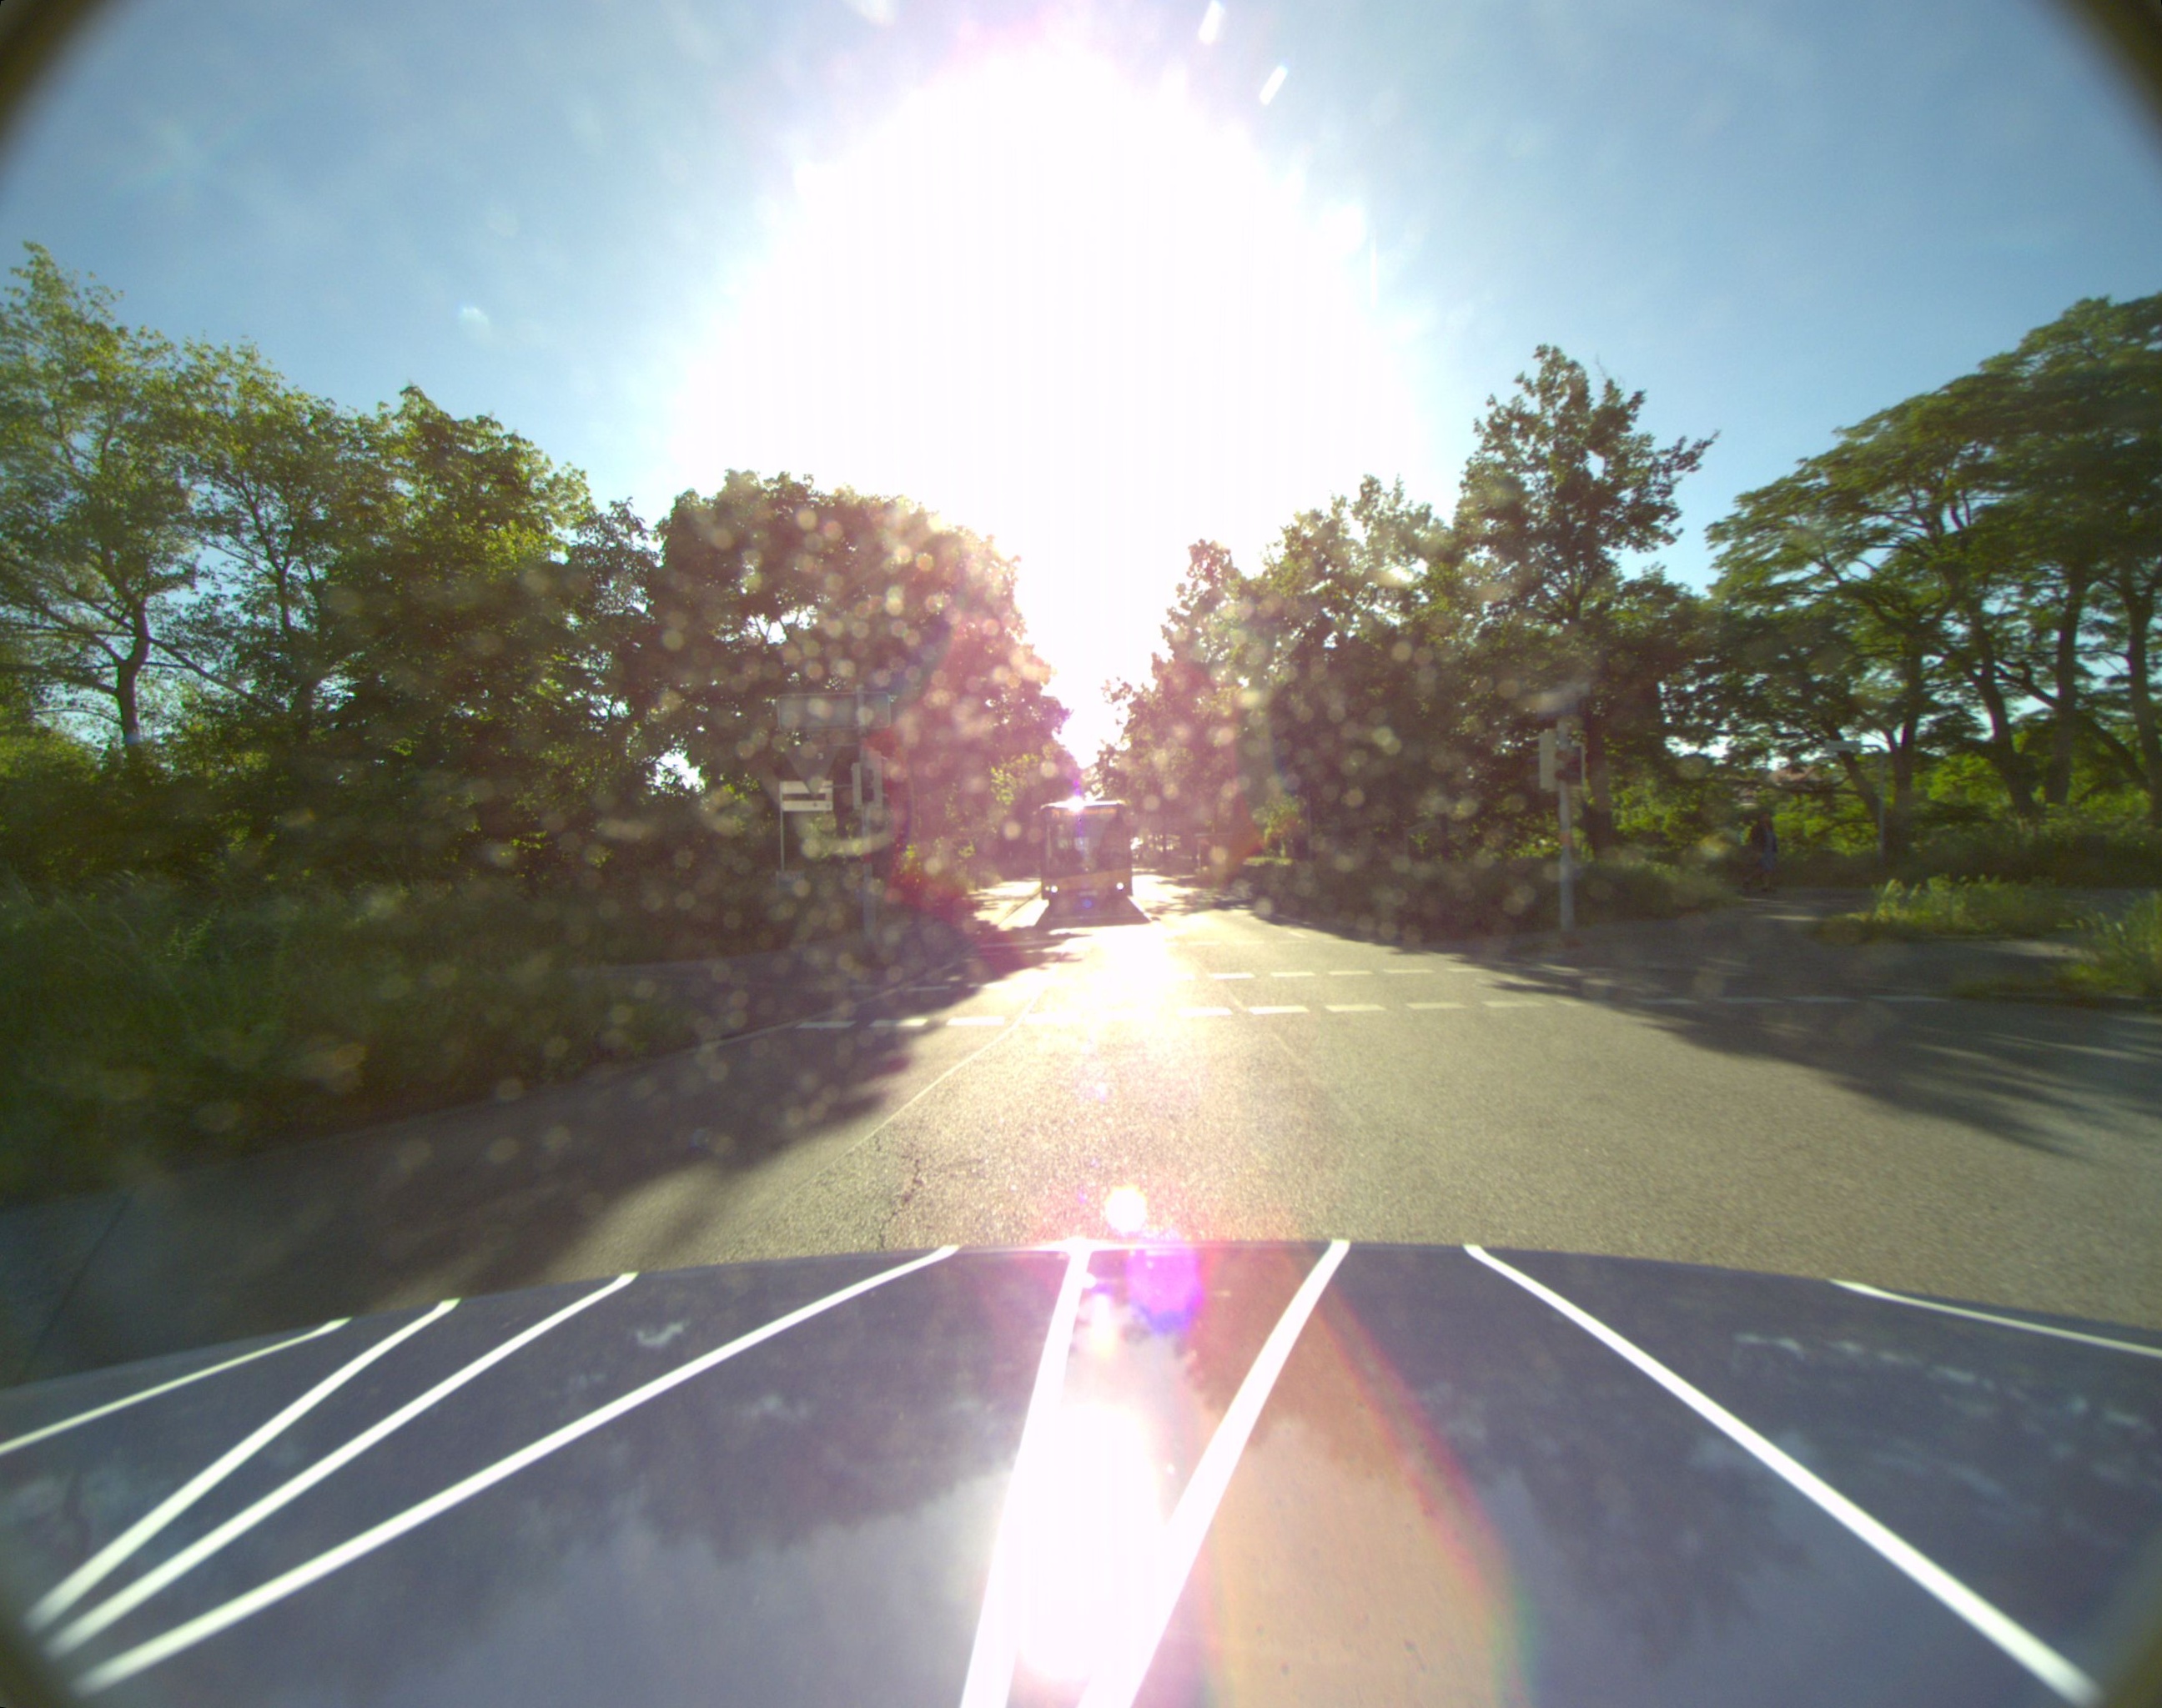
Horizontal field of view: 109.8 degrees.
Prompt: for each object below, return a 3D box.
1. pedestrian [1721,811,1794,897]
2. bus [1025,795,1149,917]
[{"bbox_3d":[13.425,0.008,15.102,0.800,1.624,0.647,-4,1,1],"label":"pedestrian"},{"bbox_3d":[0.289,-0.013,26.646,3.128,3.080,12.478,-4,1,1],"label":"bus"}]
